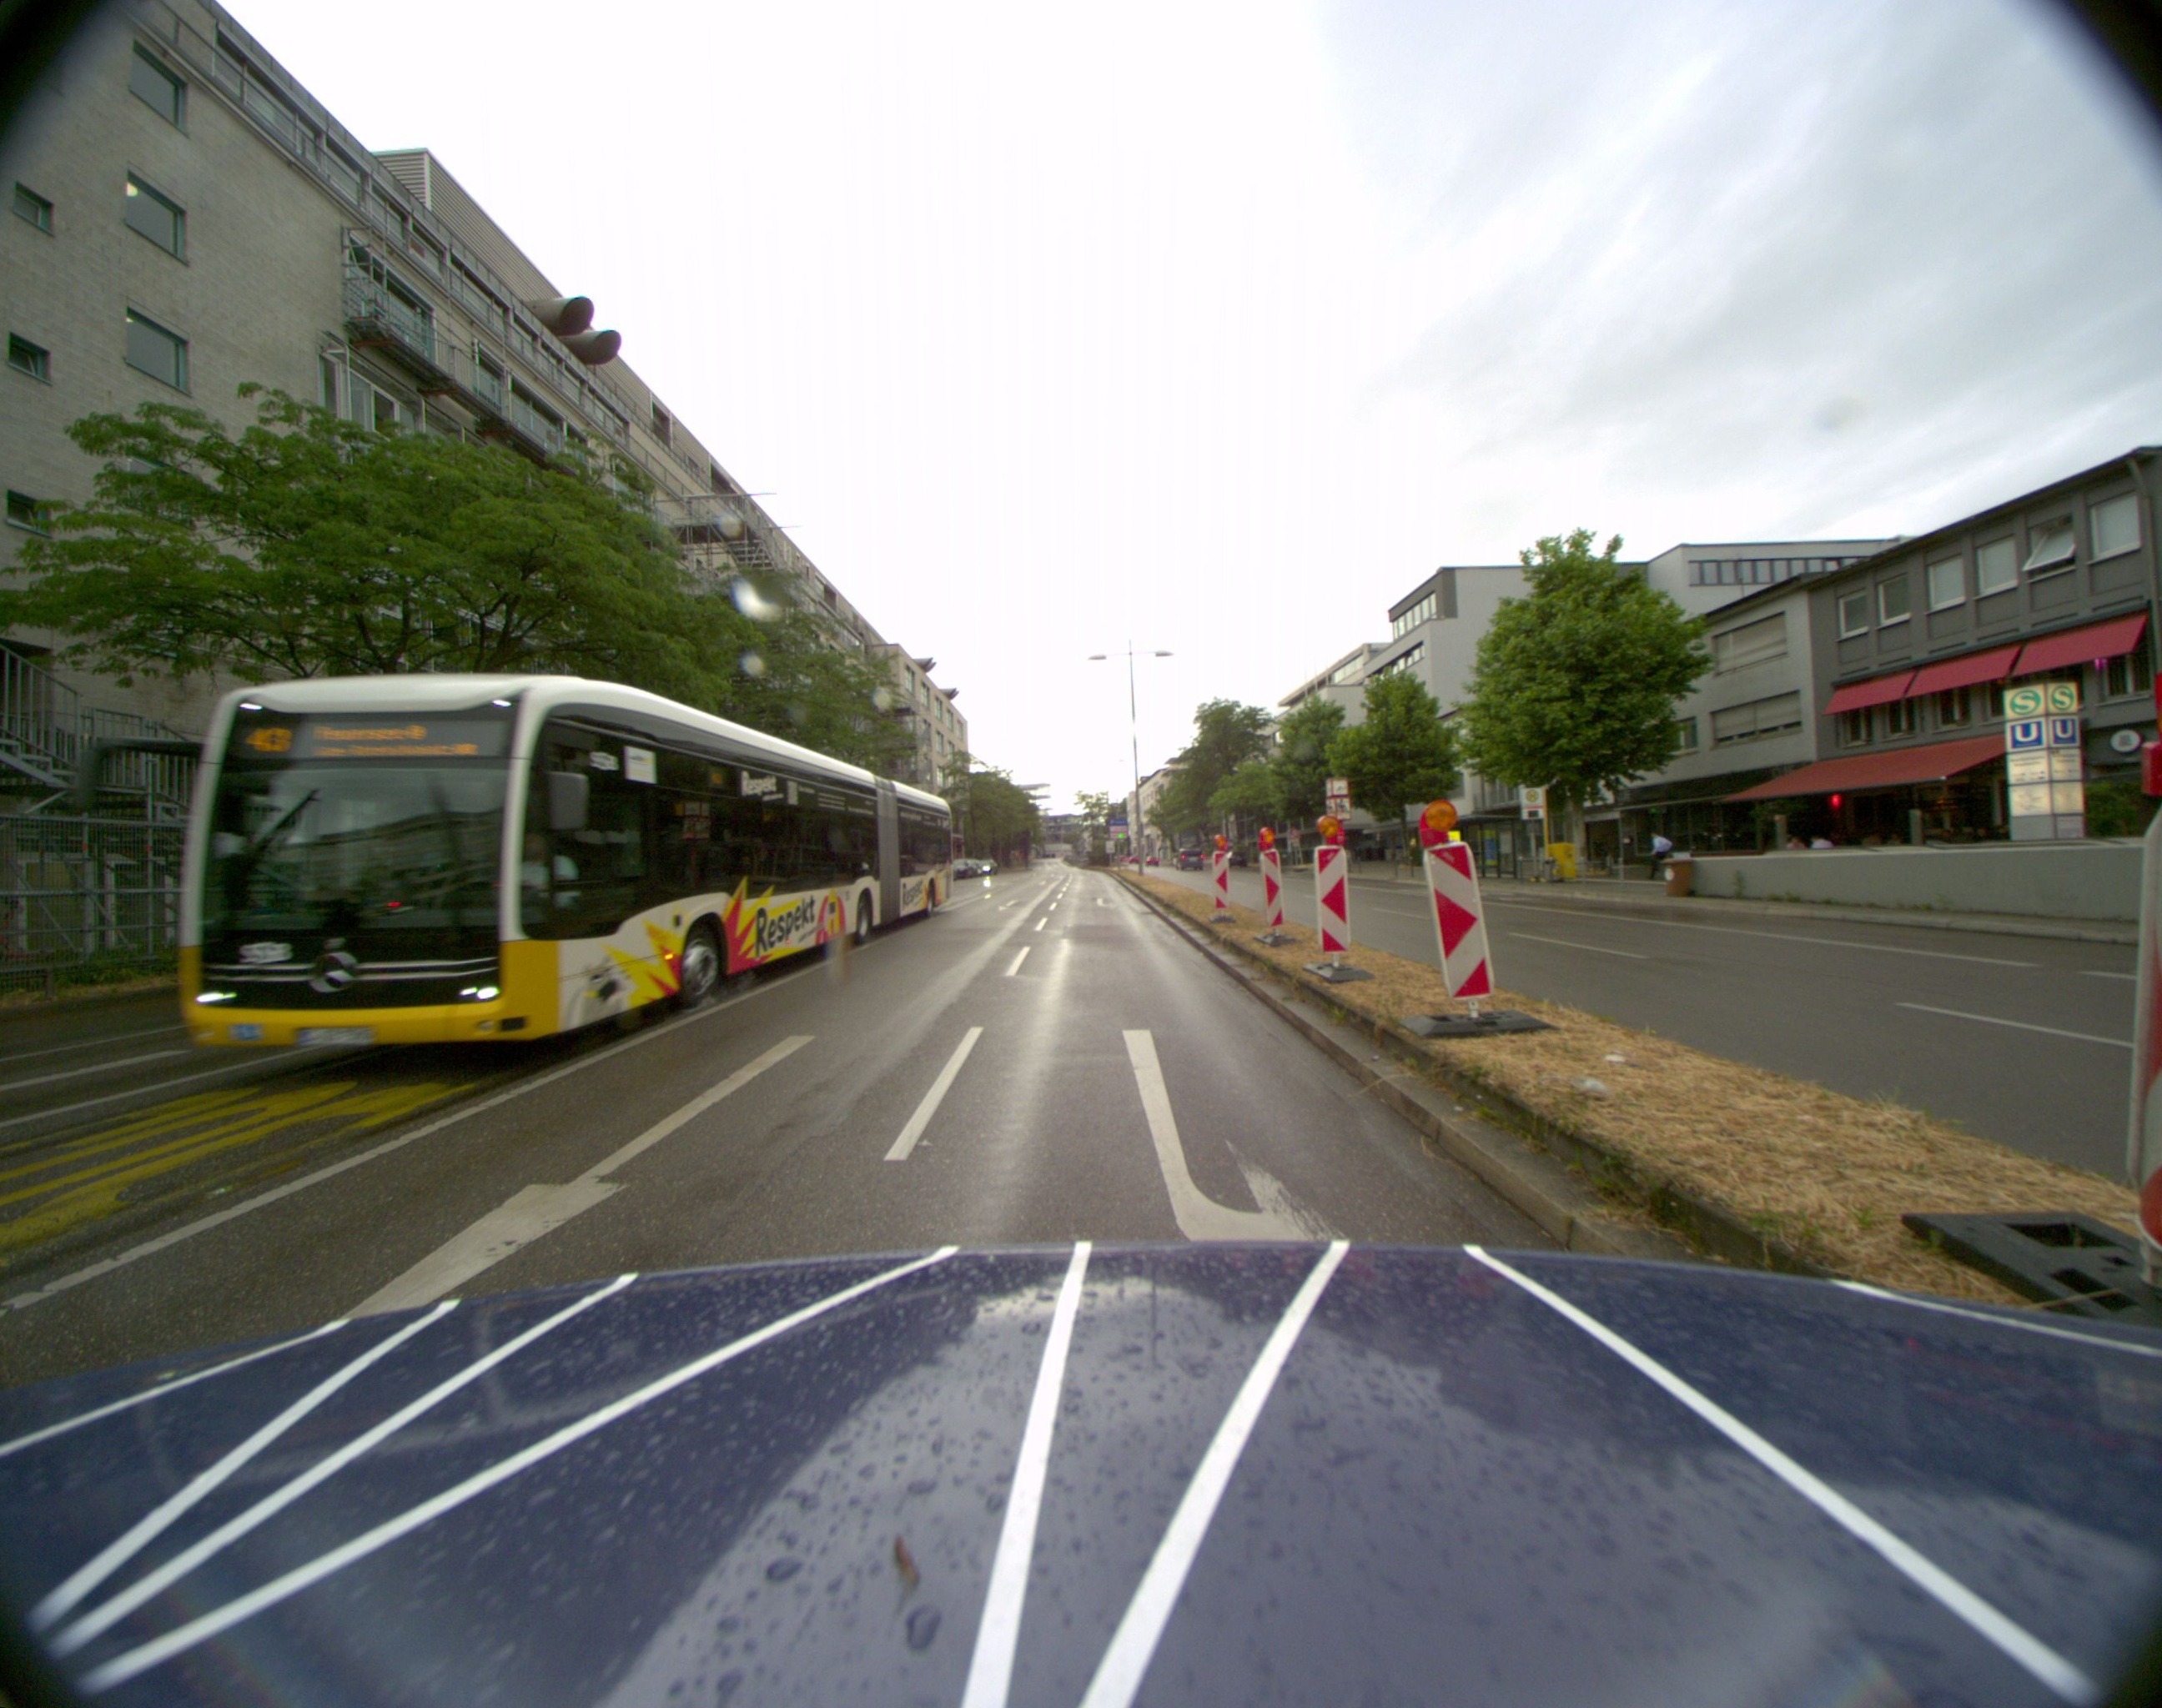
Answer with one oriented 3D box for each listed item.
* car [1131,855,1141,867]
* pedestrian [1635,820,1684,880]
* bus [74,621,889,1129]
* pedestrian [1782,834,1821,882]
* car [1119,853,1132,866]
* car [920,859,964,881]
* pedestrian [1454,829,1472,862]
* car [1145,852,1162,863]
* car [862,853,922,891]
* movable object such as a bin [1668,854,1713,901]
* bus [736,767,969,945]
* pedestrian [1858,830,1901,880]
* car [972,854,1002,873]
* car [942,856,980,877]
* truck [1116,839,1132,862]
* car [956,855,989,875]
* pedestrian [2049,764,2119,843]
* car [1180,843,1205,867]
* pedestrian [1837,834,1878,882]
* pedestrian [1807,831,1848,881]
[{"bbox_3d":[10.575,1.320,146.376,1.692,1.419,4.224,-1,-13,0],"label":"car"},{"bbox_3d":[20.052,-0.141,26.360,0.922,2.002,0.944,-2,1,0],"label":"pedestrian"},{"bbox_3d":[-5.389,0.107,10.160,2.890,3.430,9.756,-2,1,1],"label":"bus"},{"bbox_3d":[23.341,0.124,24.630,0.669,1.520,0.611,-2,1,3],"label":"pedestrian"},{"bbox_3d":[7.156,0.841,122.224,1.998,2.002,4.000,-2,1,2],"label":"car"},{"bbox_3d":[-9.888,1.129,54.420,2.147,1.329,4.816,-2,1,0],"label":"car"},{"bbox_3d":[24.007,-0.527,47.757,0.774,2.002,0.767,-2,1,8],"label":"pedestrian"},{"bbox_3d":[10.541,0.490,110.693,1.692,1.501,4.289,-2,0,-6],"label":"car"},{"bbox_3d":[-10.525,0.980,42.654,2.213,1.895,4.329,-2,1,0],"label":"car"},{"bbox_3d":[14.564,0.552,18.166,0.507,1.094,0.660,-2,1,-2],"label":"movable object such as a bin"},{"bbox_3d":[-5.242,-0.009,19.907,2.890,3.420,9.709,-2,1,1],"label":"bus"},{"bbox_3d":[24.993,0.033,23.790,0.669,1.520,0.611,-2,1,3],"label":"pedestrian"},{"bbox_3d":[-8.894,0.897,72.423,2.147,1.637,4.816,-2,1,0],"label":"car"},{"bbox_3d":[-9.624,0.980,61.217,2.147,1.486,4.816,-2,1,0],"label":"car"},{"bbox_3d":[7.103,-0.562,127.112,1.999,3.557,7.572,-2,0,-2],"label":"truck"},{"bbox_3d":[-9.464,0.939,66.686,2.147,1.552,4.816,-2,1,0],"label":"car"},{"bbox_3d":[23.859,-1.177,18.081,0.611,1.813,0.792,-2,1,-4],"label":"pedestrian"},{"bbox_3d":[9.875,0.030,67.480,1.997,1.916,4.965,-1,2,6],"label":"car"},{"bbox_3d":[25.108,0.133,24.577,0.669,1.520,0.611,-2,1,4],"label":"pedestrian"},{"bbox_3d":[23.320,0.051,23.744,0.669,1.520,0.611,-2,1,3],"label":"pedestrian"}]
